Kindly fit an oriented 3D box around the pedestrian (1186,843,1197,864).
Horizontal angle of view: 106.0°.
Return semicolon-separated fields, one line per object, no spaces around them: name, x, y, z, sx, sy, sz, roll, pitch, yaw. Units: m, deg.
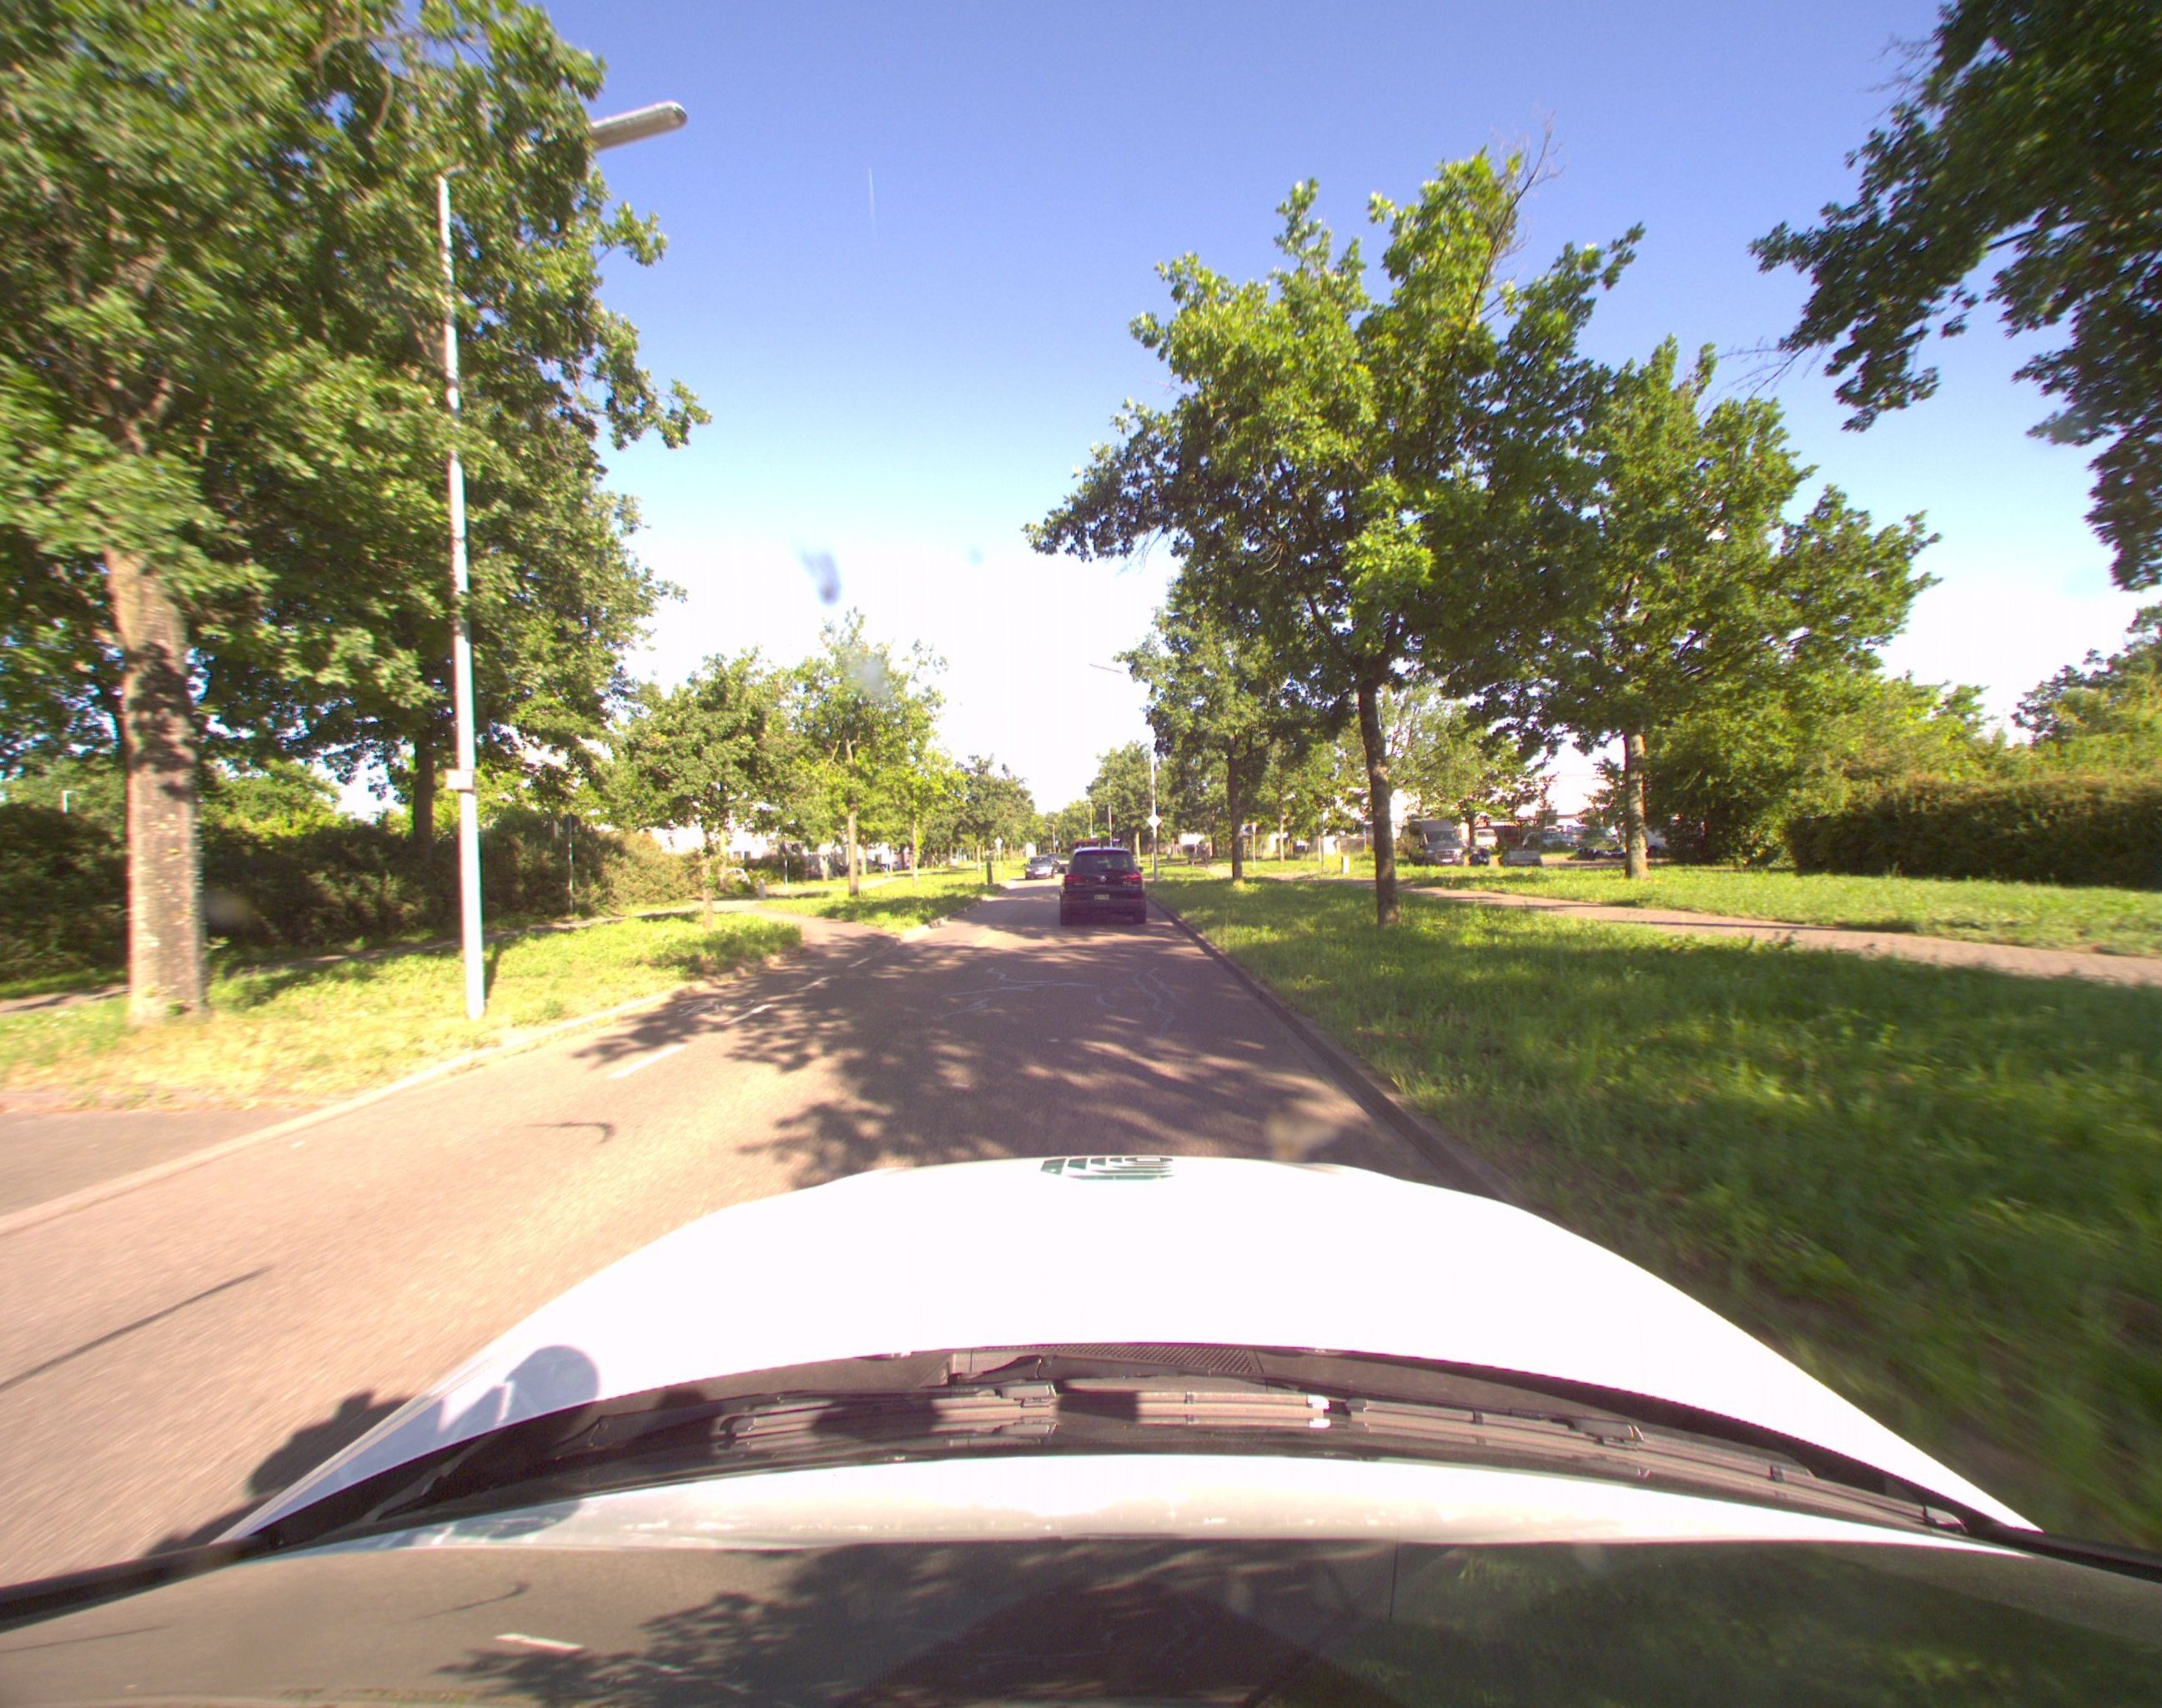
pedestrian;8.805;-0.043;64.849;0.723;1.603;0.867;-3;0;-1

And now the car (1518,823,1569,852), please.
car;36.580;-1.369;64.549;2.071;2.061;5.030;-1;3;11

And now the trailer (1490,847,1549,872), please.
trailer;17.871;0.248;33.256;1.568;0.868;2.060;-3;-4;11

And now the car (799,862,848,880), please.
car;-24.496;1.625;77.394;4.023;1.448;1.779;-3;0;-44

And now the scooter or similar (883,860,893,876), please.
scooter or similar;-15.262;1.101;64.409;0.393;1.279;1.441;-2;0;0

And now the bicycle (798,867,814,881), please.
bicycle;-21.926;1.598;65.027;0.637;1.087;1.890;-3;0;-1

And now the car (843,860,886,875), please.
car;-23.809;1.498;89.630;3.976;1.401;1.976;-3;0;-43

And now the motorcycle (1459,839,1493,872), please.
motorcycle;17.054;0.086;35.191;0.658;1.231;2.413;-3;-4;11

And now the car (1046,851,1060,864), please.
car;-3.666;0.488;107.381;1.800;1.536;4.493;-4;1;-2

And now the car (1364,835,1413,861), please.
car;21.379;-0.425;56.739;1.999;1.664;3.596;-3;0;0

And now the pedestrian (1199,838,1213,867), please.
pedestrian;8.006;-0.106;52.176;0.723;1.812;0.867;-3;2;-1

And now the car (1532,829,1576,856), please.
car;31.283;-0.778;53.996;1.819;1.640;4.021;-3;0;20

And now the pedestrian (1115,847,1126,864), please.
pedestrian;4.044;0.142;84.236;1.016;1.651;1.099;-3;0;-1

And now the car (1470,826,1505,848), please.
car;32.232;-1.352;64.669;1.820;1.640;4.018;-3;0;17

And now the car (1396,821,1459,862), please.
car;23.954;-0.851;56.514;2.154;2.643;4.850;-3;0;0

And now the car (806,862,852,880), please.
car;-24.851;1.629;80.396;4.012;1.511;1.784;-3;1;-30

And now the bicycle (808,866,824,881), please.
bicycle;-21.631;1.588;66.441;0.637;1.087;1.890;-3;0;-1

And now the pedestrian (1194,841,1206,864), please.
pedestrian;9.638;-0.126;65.808;0.723;1.755;0.867;-4;0;-1

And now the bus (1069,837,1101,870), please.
bus;0.344;-0.120;93.698;2.759;3.456;11.195;-2;0;-4

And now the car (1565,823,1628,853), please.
car;34.213;-1.047;54.186;1.983;1.823;4.008;-3;0;7

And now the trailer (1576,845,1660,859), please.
trailer;29.337;-0.123;44.702;2.213;0.651;4.838;-3;0;12

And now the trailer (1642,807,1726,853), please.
trailer;32.291;-1.250;43.746;2.174;2.307;3.802;-2;0;12

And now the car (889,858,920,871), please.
car;-25.085;1.531;115.544;3.716;1.618;1.971;-2;0;13

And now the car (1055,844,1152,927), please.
car;0.436;0.616;18.667;1.930;1.656;4.425;-1;1;-1

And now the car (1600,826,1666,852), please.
car;36.454;-0.961;53.902;1.983;1.592;4.008;-3;0;7

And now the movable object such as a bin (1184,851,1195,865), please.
movable object such as a bin;8.750;0.284;65.726;0.724;1.081;0.867;-4;0;-1

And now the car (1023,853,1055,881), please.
car;-2.569;0.788;50.839;1.760;1.528;4.494;-4;1;-1

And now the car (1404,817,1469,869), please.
car;19.740;-0.698;45.510;2.071;2.565;5.992;-1;3;11
